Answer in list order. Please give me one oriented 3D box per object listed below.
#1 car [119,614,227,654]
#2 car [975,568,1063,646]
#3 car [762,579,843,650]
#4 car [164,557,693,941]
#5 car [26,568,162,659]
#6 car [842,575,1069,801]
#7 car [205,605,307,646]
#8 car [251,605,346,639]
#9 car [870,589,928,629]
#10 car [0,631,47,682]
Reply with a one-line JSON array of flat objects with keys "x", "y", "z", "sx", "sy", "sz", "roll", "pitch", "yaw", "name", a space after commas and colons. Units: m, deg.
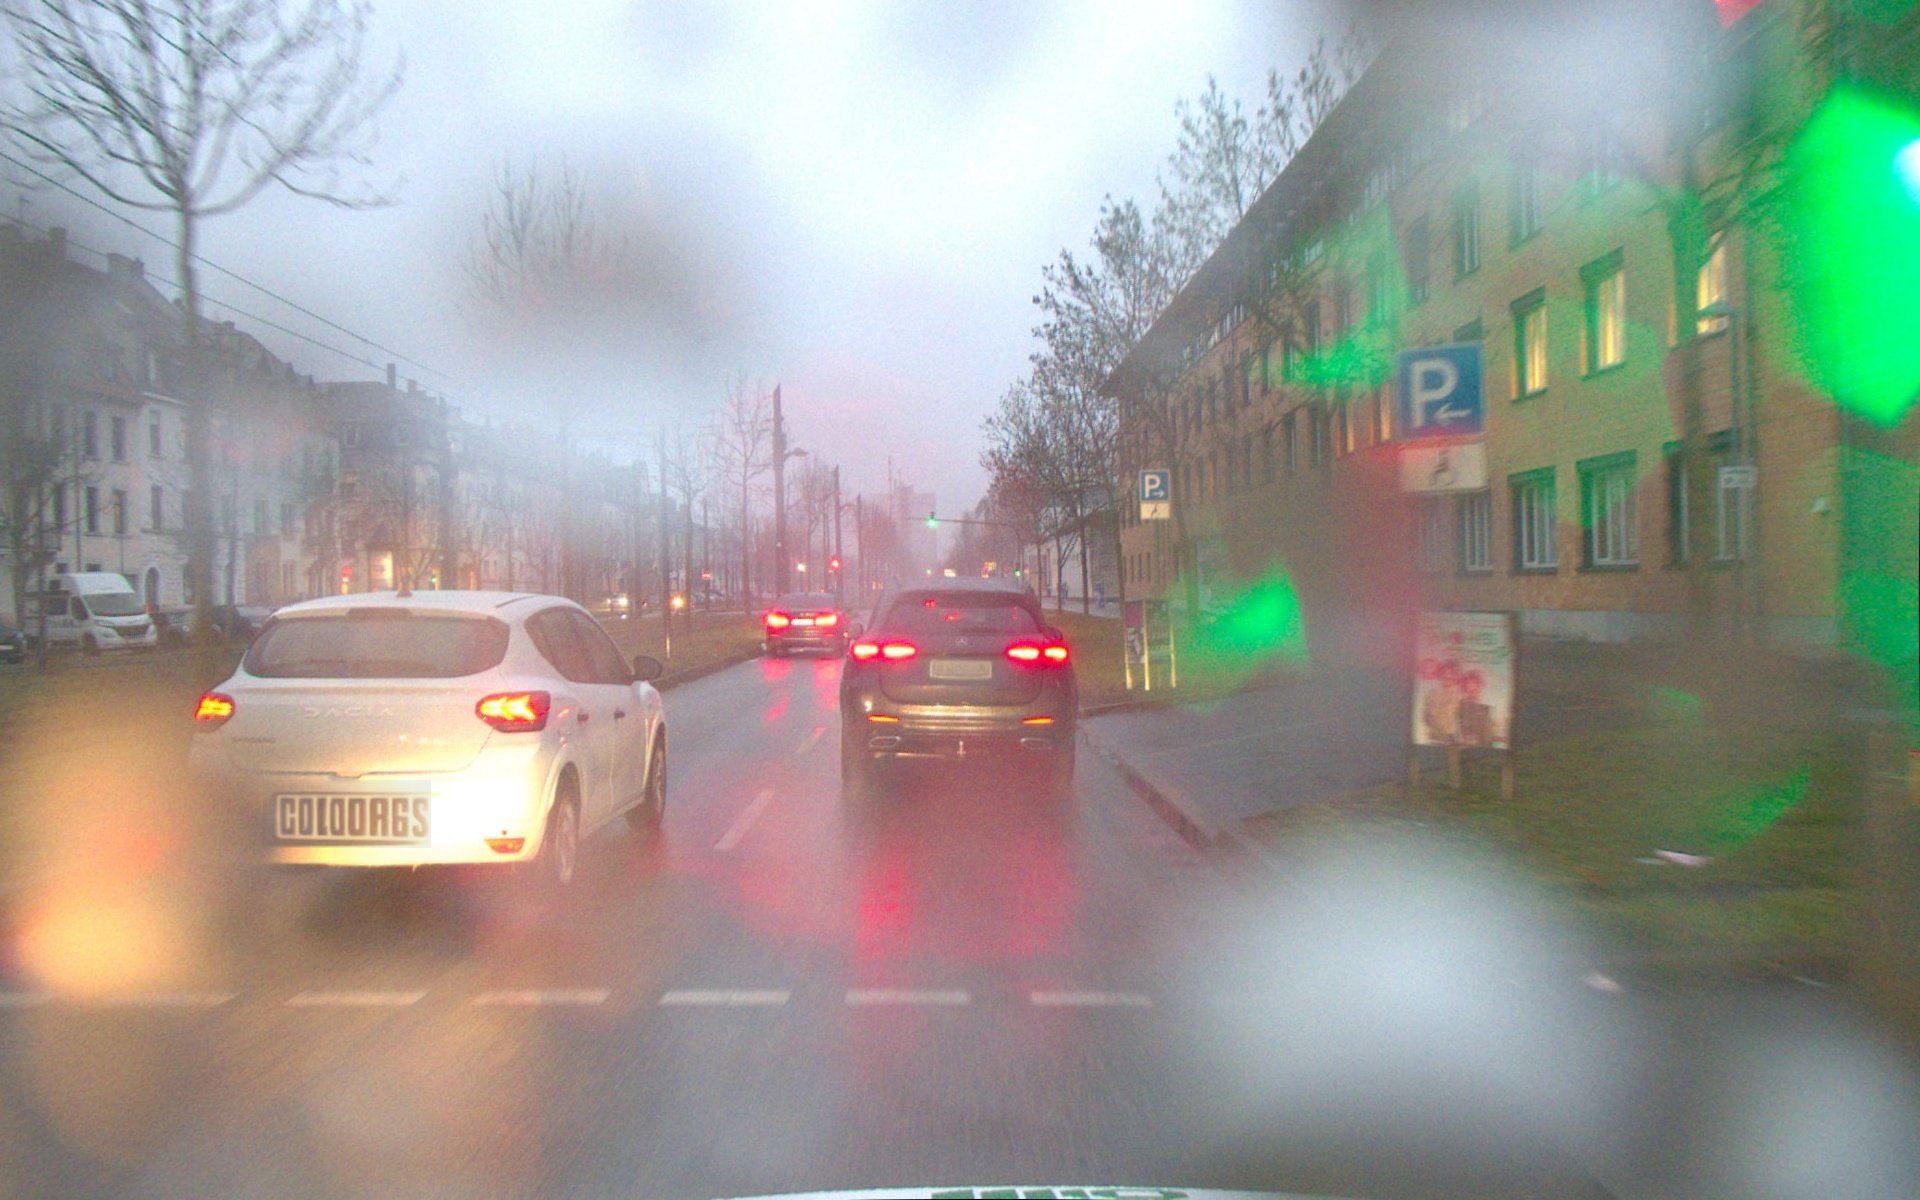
[{"x": -28.948, "y": 1.248, "z": 60.801, "sx": 3.920, "sy": 1.355, "sz": 1.992, "roll": -2, "pitch": 0, "yaw": 37, "name": "car"}, {"x": 1.417, "y": 0.152, "z": 40.977, "sx": 1.953, "sy": 1.774, "sz": 3.999, "roll": -1, "pitch": 0, "yaw": -1, "name": "car"}, {"x": -3.771, "y": 0.327, "z": 40.151, "sx": 1.638, "sy": 1.628, "sz": 4.053, "roll": 0, "pitch": 0, "yaw": -1, "name": "car"}, {"x": -2.592, "y": 0.625, "z": 9.084, "sx": 1.638, "sy": 1.628, "sz": 4.053, "roll": 0, "pitch": 0, "yaw": -1, "name": "car"}, {"x": -28.701, "y": 0.453, "z": 54.715, "sx": 5.760, "sy": 2.846, "sz": 1.989, "roll": -2, "pitch": 0, "yaw": 41, "name": "car"}, {"x": -0.055, "y": 0.627, "z": 14.006, "sx": 1.638, "sy": 1.628, "sz": 4.053, "roll": 0, "pitch": 0, "yaw": -1, "name": "car"}, {"x": -28.729, "y": 1.040, "z": 67.470, "sx": 3.916, "sy": 1.512, "sz": 1.994, "roll": -2, "pitch": 0, "yaw": 34, "name": "car"}, {"x": -28.241, "y": 0.943, "z": 70.578, "sx": 3.920, "sy": 1.355, "sz": 1.992, "roll": -2, "pitch": 0, "yaw": 37, "name": "car"}, {"x": -2.194, "y": 0.308, "z": 60.500, "sx": 1.953, "sy": 1.321, "sz": 3.479, "roll": -2, "pitch": 0, "yaw": -1, "name": "car"}, {"x": -28.206, "y": 1.636, "z": 47.541, "sx": 3.920, "sy": 1.355, "sz": 1.992, "roll": -2, "pitch": 0, "yaw": 37, "name": "car"}]
